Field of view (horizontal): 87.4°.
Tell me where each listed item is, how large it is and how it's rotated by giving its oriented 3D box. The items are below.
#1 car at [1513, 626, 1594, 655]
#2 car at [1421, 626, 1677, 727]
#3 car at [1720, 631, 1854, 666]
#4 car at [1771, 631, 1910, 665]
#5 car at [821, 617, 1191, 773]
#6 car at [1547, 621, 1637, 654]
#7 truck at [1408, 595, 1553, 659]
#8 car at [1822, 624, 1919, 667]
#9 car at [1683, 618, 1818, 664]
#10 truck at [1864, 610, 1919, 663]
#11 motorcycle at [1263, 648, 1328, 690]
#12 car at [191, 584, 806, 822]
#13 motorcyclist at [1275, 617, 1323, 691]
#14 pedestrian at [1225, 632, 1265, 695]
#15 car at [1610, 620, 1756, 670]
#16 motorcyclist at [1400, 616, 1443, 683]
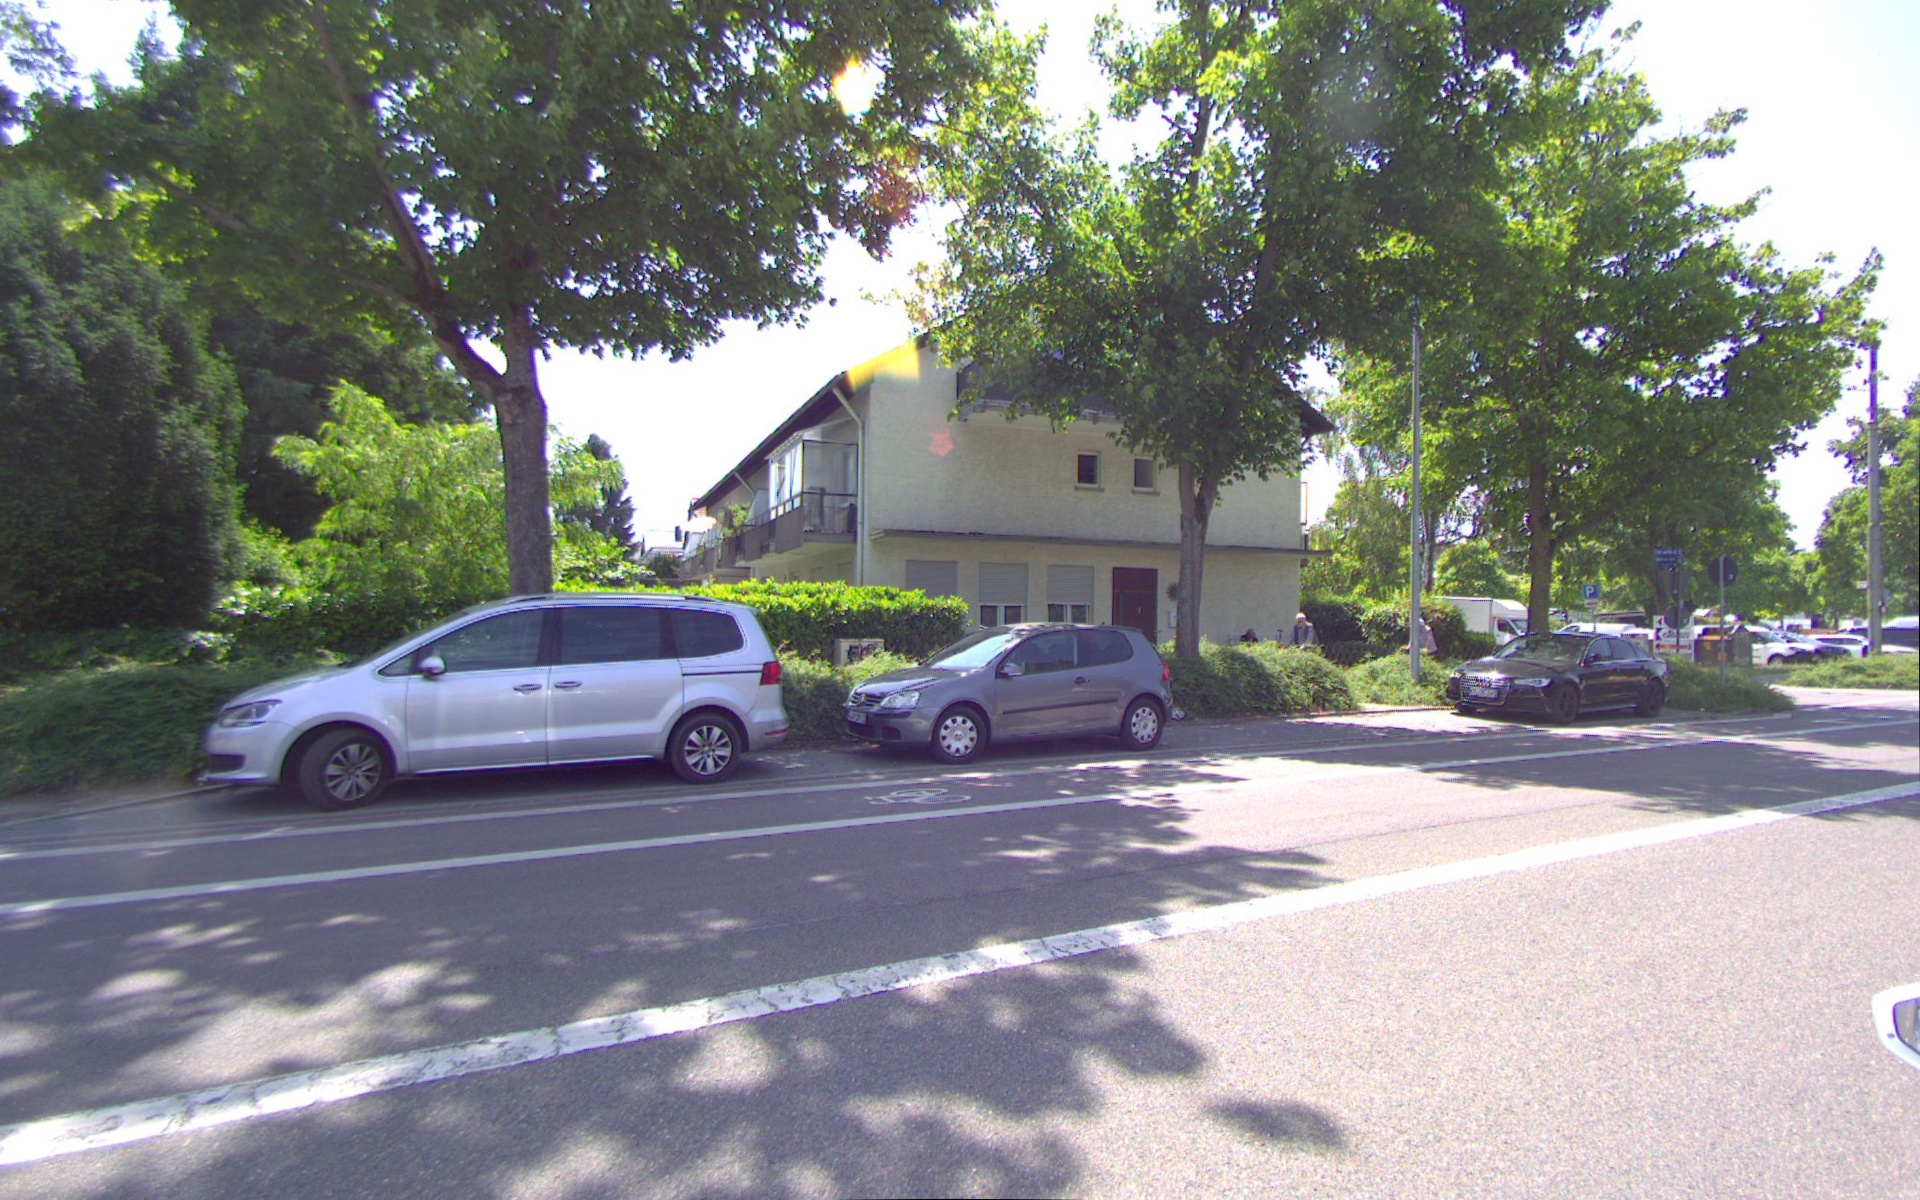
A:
[{"bbox_3d":[34.808,2.356,58.962,1.712,1.597,3.729,1,-1,-30],"label":"car"},{"bbox_3d":[10.312,1.240,17.467,4.757,1.476,1.883,1,0,-33],"label":"car"},{"bbox_3d":[36.328,2.081,44.203,2.059,1.422,4.171,1,-2,-33],"label":"car"},{"bbox_3d":[42.616,2.297,48.735,2.034,1.508,4.738,1,-1,-30],"label":"car"},{"bbox_3d":[0.596,0.998,11.758,4.080,1.506,1.668,1,0,-31],"label":"car"},{"bbox_3d":[37.311,2.199,59.377,1.948,1.845,4.108,2,-1,-30],"label":"car"},{"bbox_3d":[28.331,1.413,55.008,2.126,3.270,6.942,1,0,-31],"label":"truck"},{"bbox_3d":[45.420,2.195,49.444,1.835,2.021,4.189,1,-1,-30],"label":"car"},{"bbox_3d":[33.620,1.708,42.839,1.651,1.860,4.251,1,-1,-27],"label":"car"},{"bbox_3d":[52.128,1.968,53.437,2.402,2.796,5.556,1,-1,-28],"label":"truck"},{"bbox_3d":[7.140,1.453,21.367,1.354,0.837,0.523,1,2,-29],"label":"motorcycle"},{"bbox_3d":[-3.947,0.777,9.212,4.630,1.711,1.962,1,0,-29],"label":"car"},{"bbox_3d":[7.222,1.136,21.394,0.716,1.523,0.584,1,2,-29],"label":"motorcyclist"},{"bbox_3d":[7.138,1.577,25.158,0.599,1.530,0.792,1,-1,-23],"label":"pedestrian"},{"bbox_3d":[29.290,1.784,40.831,2.039,1.881,4.421,1,-1,-34],"label":"car"},{"bbox_3d":[10.779,1.151,23.473,0.654,1.523,0.584,1,2,-29],"label":"motorcyclist"}]
